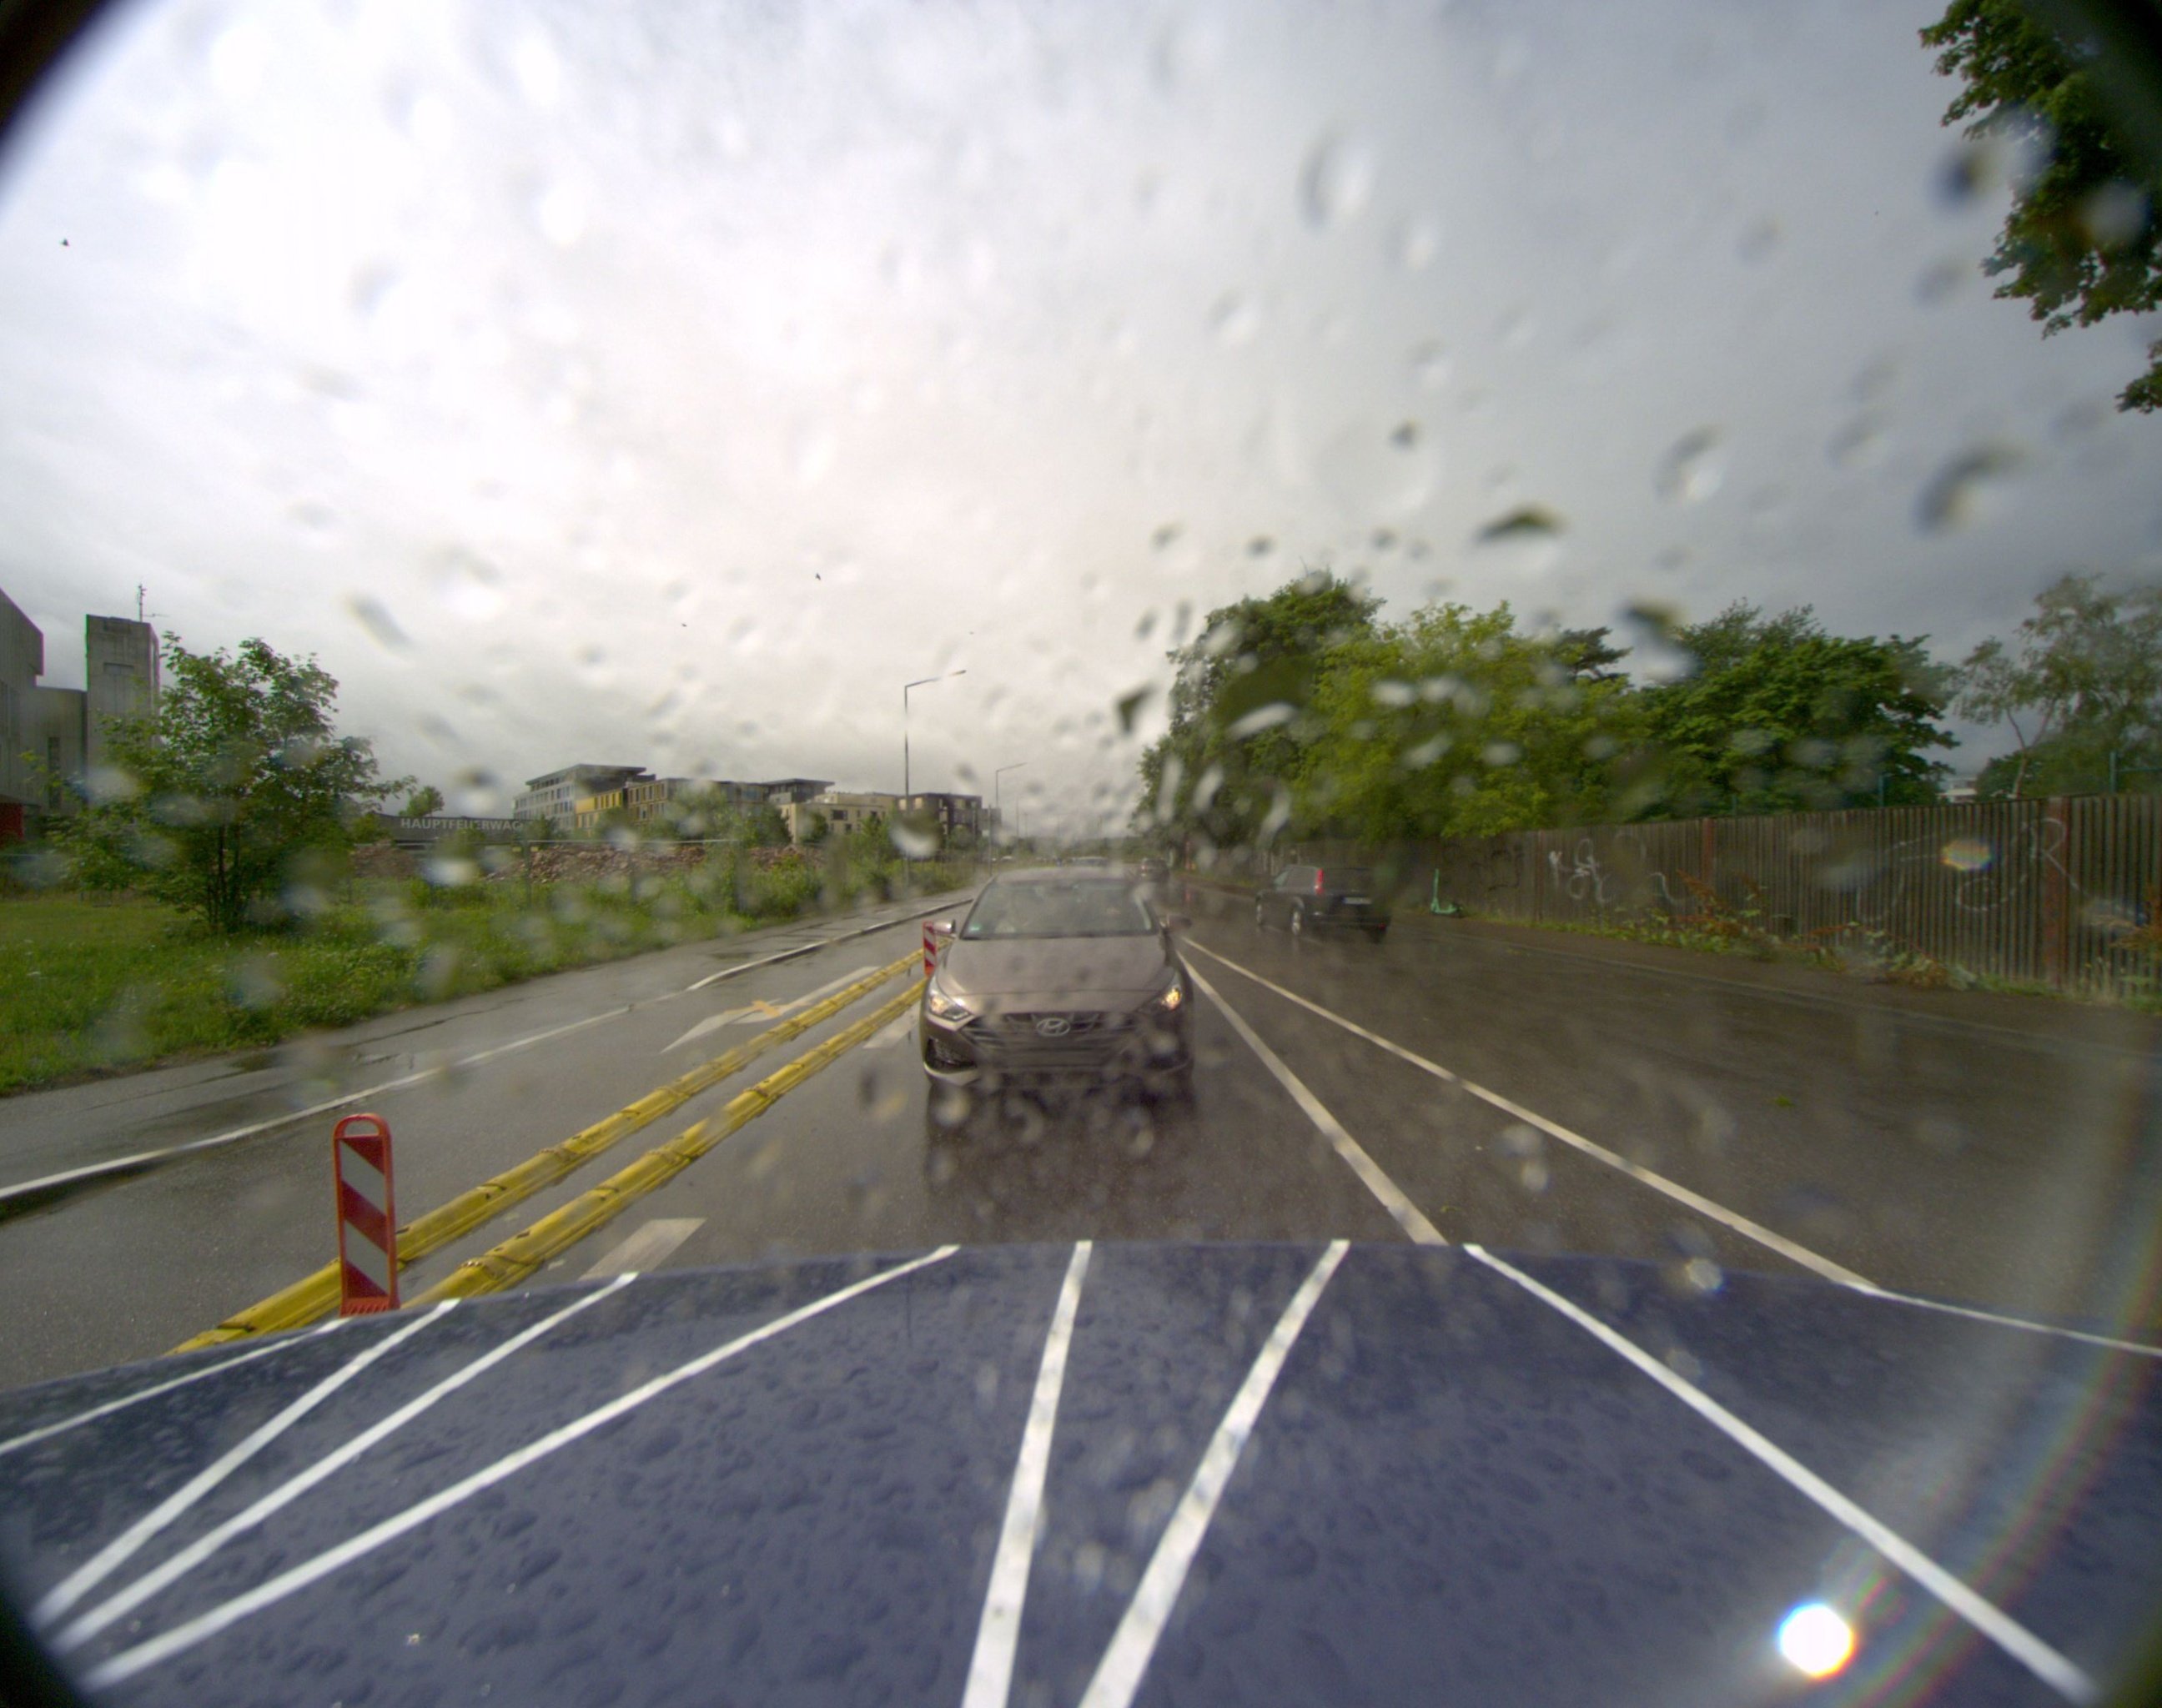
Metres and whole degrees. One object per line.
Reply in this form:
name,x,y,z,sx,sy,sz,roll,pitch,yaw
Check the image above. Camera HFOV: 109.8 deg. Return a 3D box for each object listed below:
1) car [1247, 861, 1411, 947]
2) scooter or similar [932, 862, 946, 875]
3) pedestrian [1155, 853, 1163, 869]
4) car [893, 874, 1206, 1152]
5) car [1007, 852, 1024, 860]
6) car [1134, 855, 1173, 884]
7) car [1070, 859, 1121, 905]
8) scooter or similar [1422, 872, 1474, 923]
car,5.009,0.941,16.030,1.880,1.474,4.176,0,1,-4
scooter or similar,-12.389,1.268,66.325,1.191,1.143,0.484,0,1,35
pedestrian,8.322,0.764,81.308,0.841,1.759,0.644,0,1,1
car,-0.209,0.937,6.160,1.724,1.423,3.818,-1,0,-1
car,-17.772,0.586,206.550,4.008,2.002,1.994,-1,0,-43
car,4.241,0.874,45.157,1.785,1.543,4.425,2,0,-1
car,0.494,0.968,27.686,1.734,1.539,3.771,-1,0,0
scooter or similar,8.807,1.023,18.281,0.564,1.156,1.207,-1,0,-6
